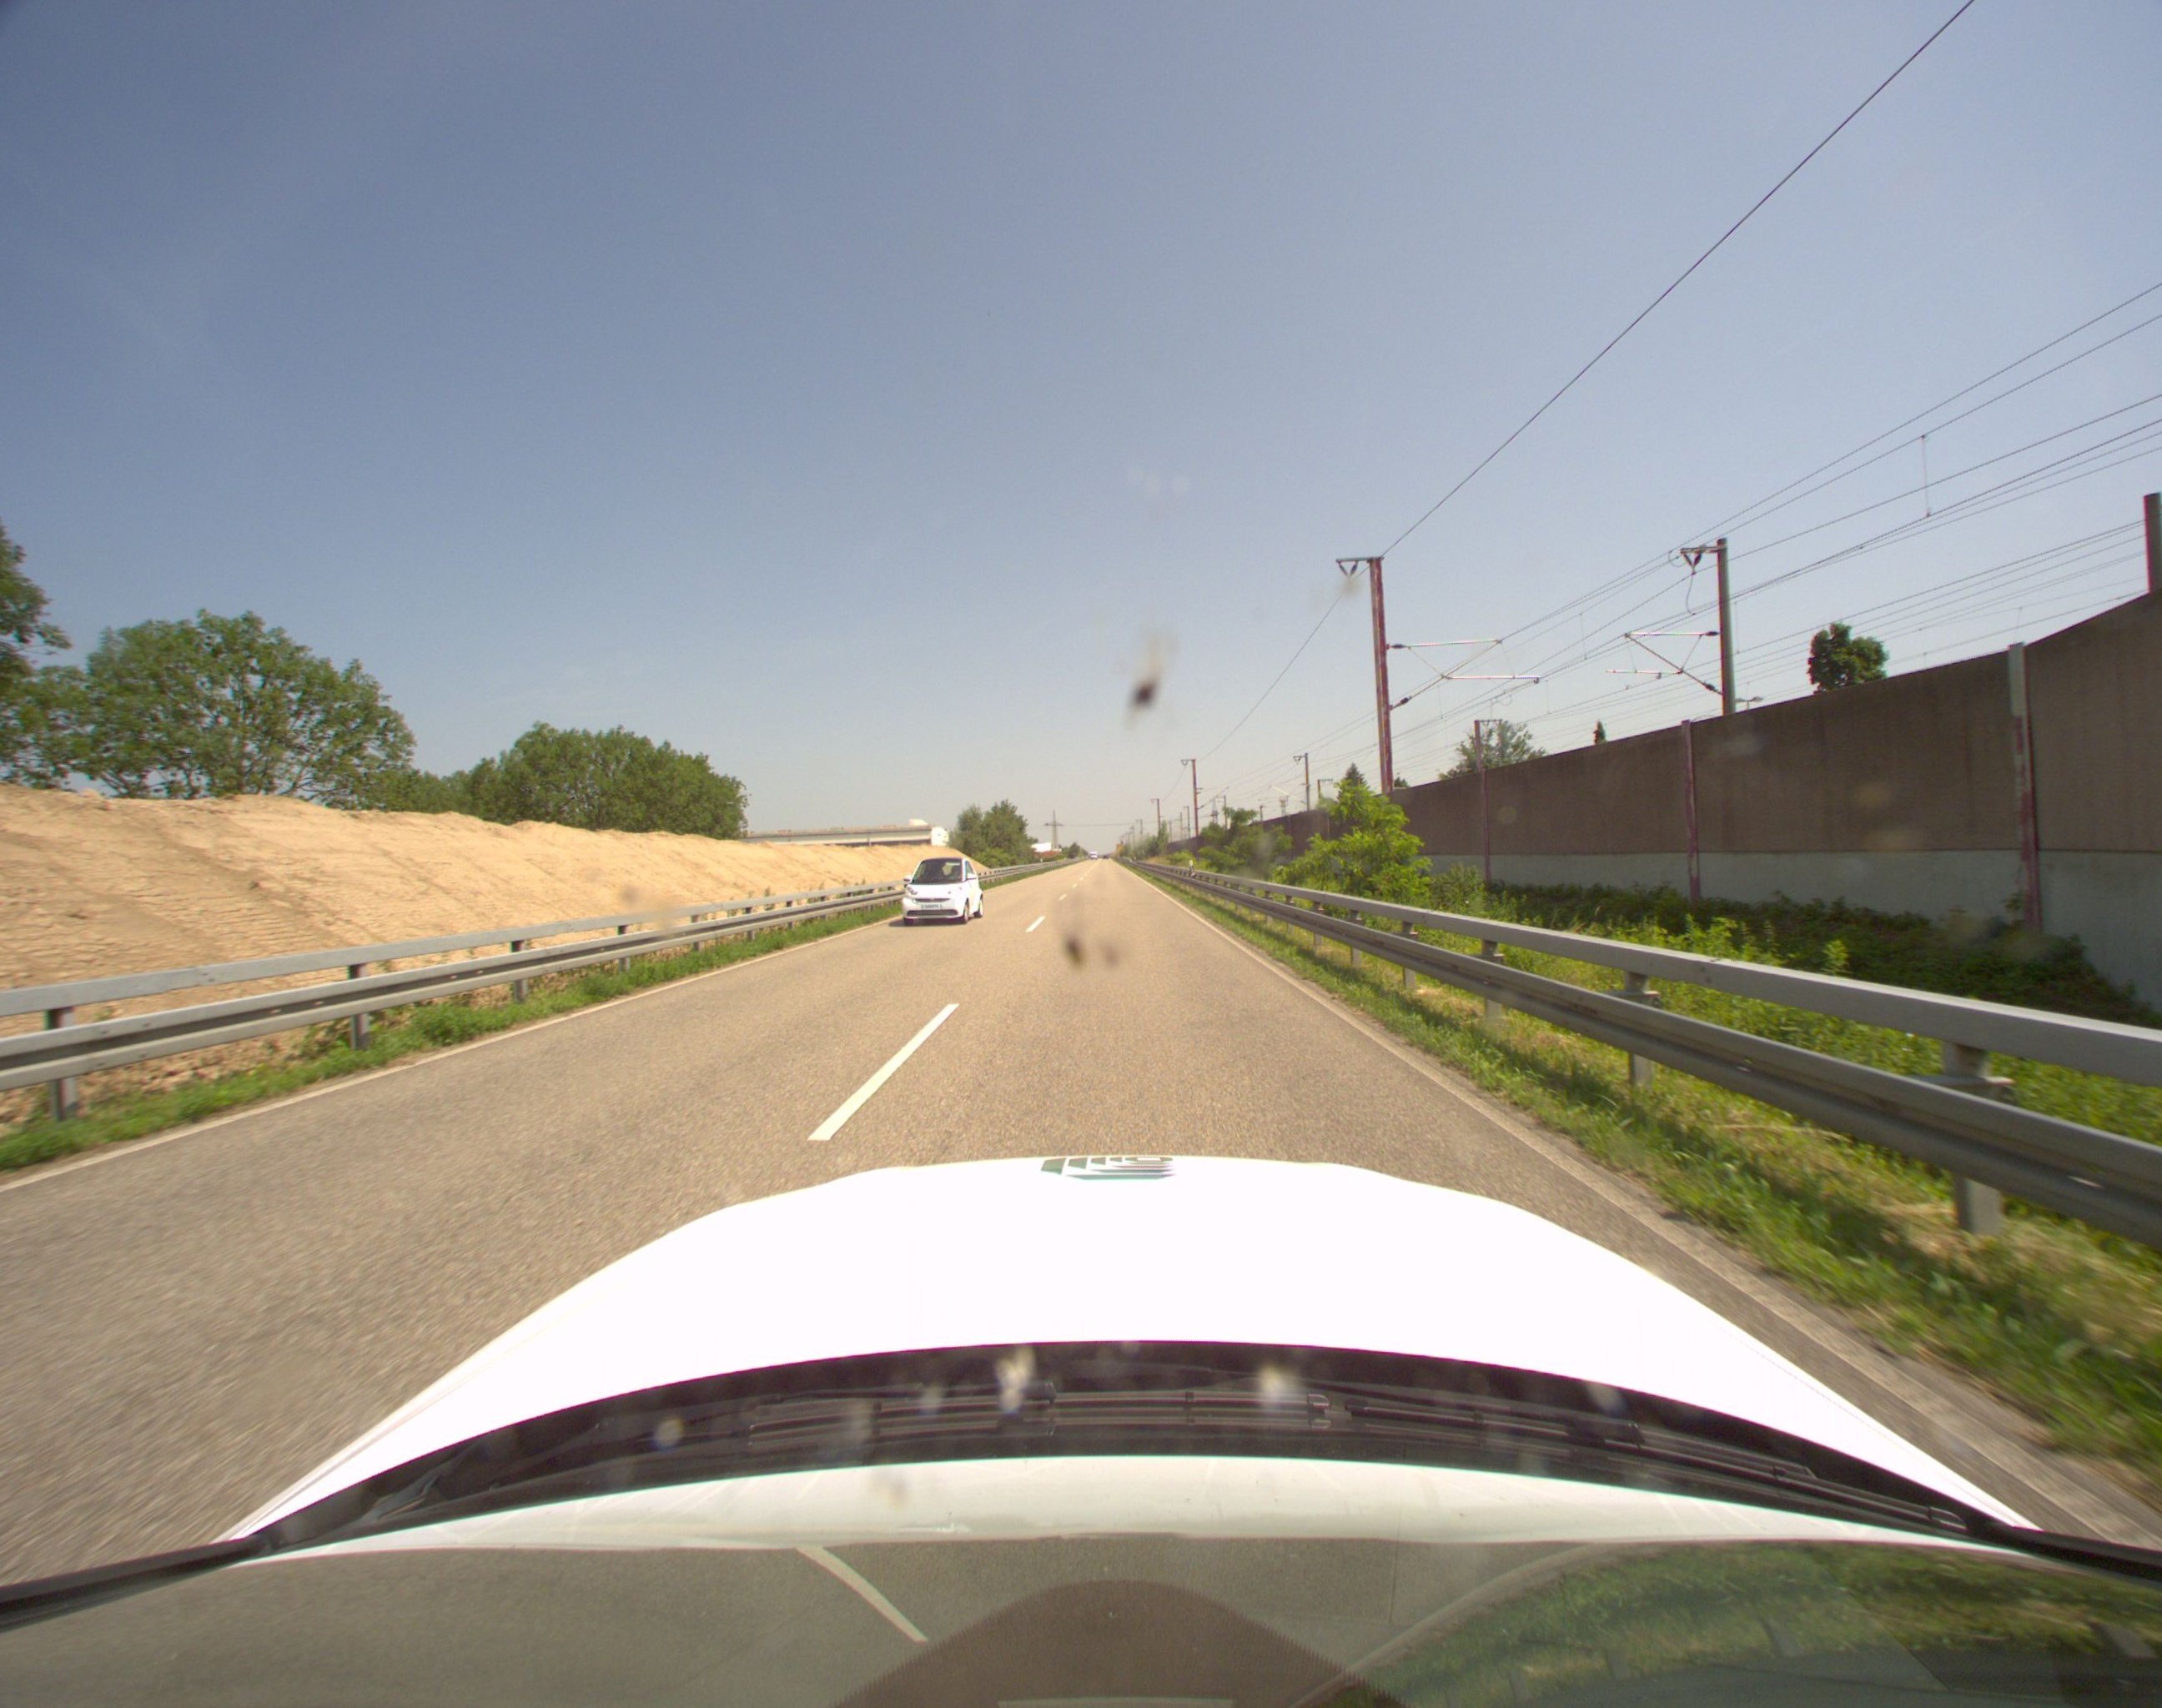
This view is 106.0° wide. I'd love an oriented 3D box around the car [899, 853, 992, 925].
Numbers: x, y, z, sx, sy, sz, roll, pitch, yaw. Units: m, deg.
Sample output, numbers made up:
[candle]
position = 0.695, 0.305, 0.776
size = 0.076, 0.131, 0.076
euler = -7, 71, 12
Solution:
[car]
position = -3.282, 0.797, 20.405
size = 1.590, 1.576, 3.829
euler = -1, 0, 1
